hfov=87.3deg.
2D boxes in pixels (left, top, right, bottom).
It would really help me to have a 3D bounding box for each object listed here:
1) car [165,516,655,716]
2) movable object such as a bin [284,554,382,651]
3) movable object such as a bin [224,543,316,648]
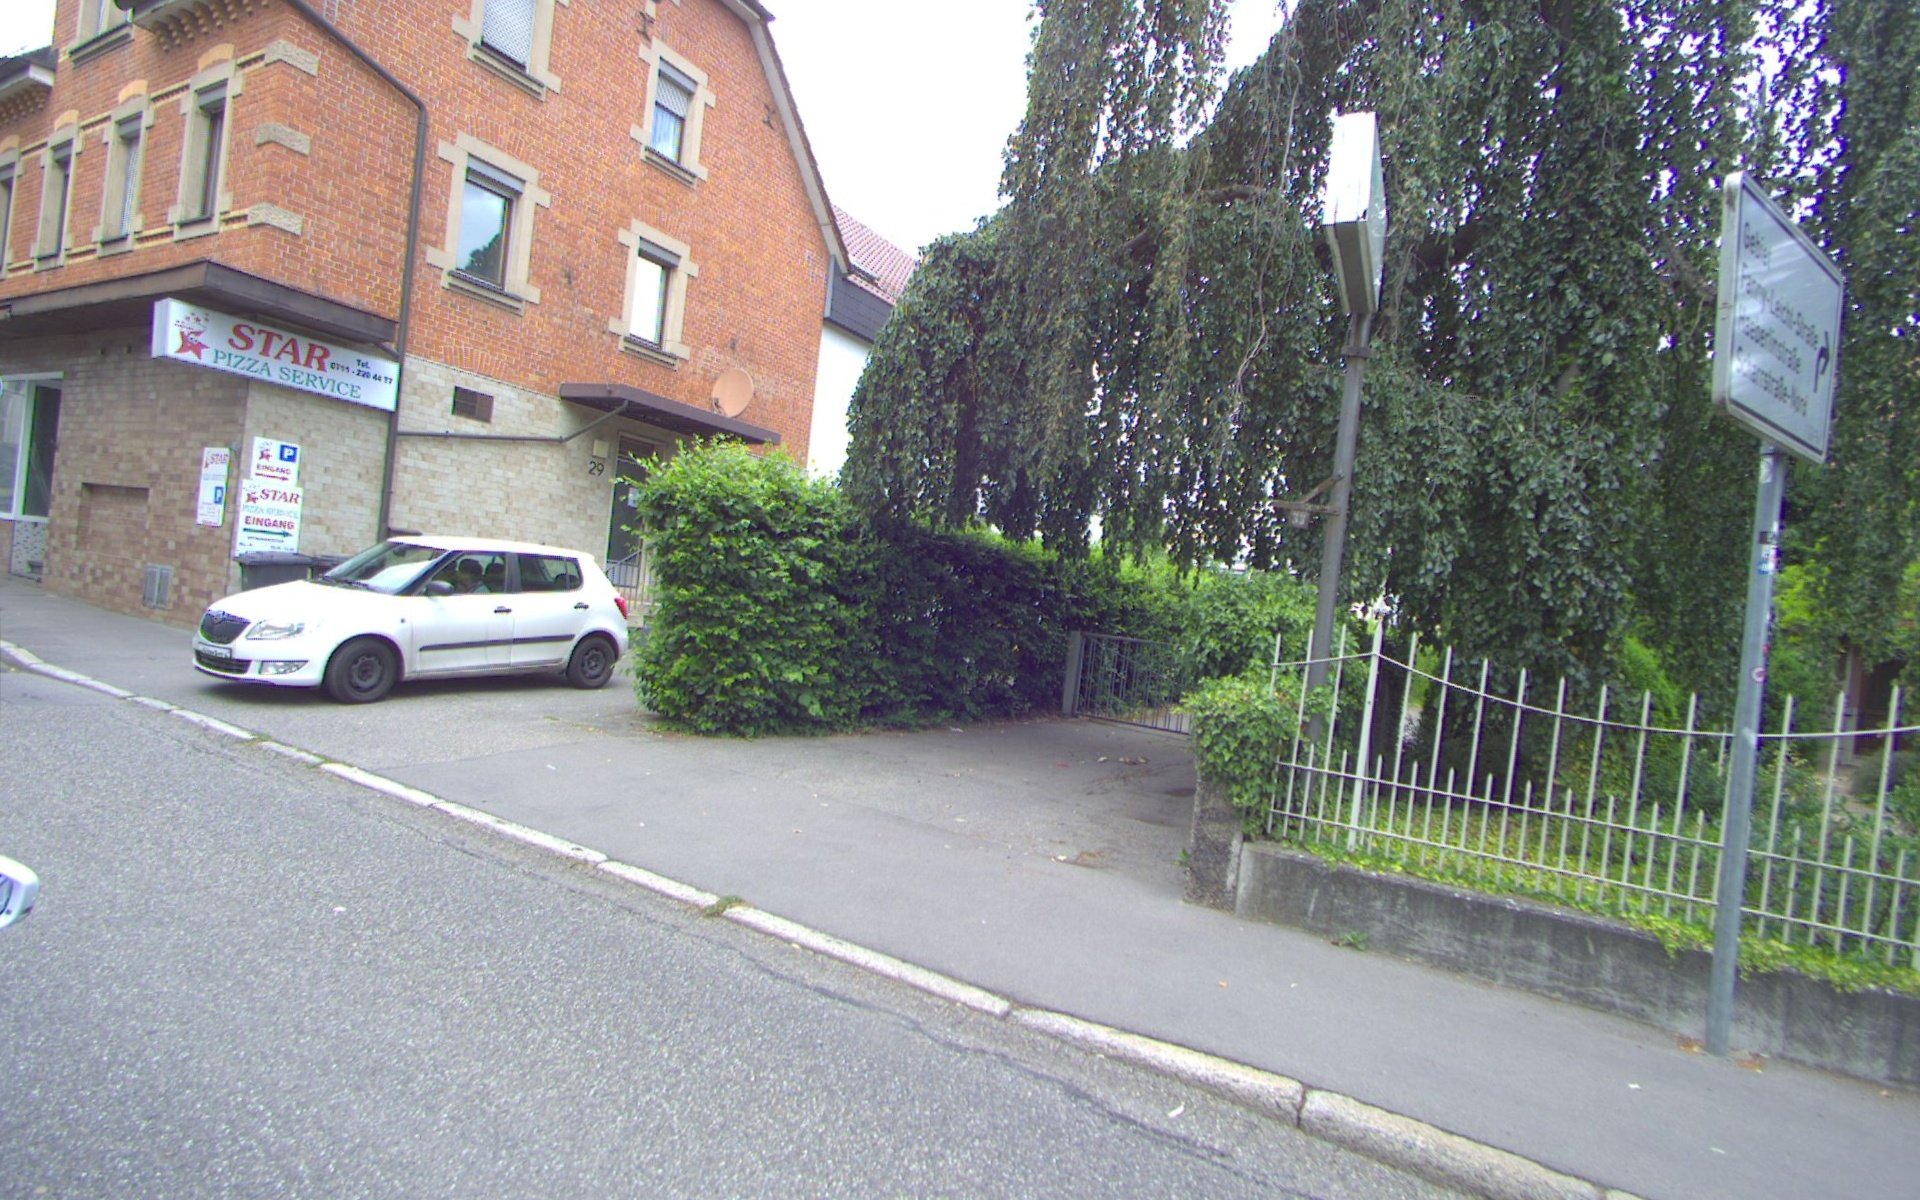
[{"bbox_3d":[-5.162,0.103,10.021,1.574,1.490,4.029,6,3,29],"label":"car"},{"bbox_3d":[-7.508,0.037,12.046,0.711,1.073,0.699,6,2,31],"label":"movable object such as a bin"},{"bbox_3d":[-7.828,-0.047,11.415,0.612,1.115,0.606,6,2,31],"label":"movable object such as a bin"}]
